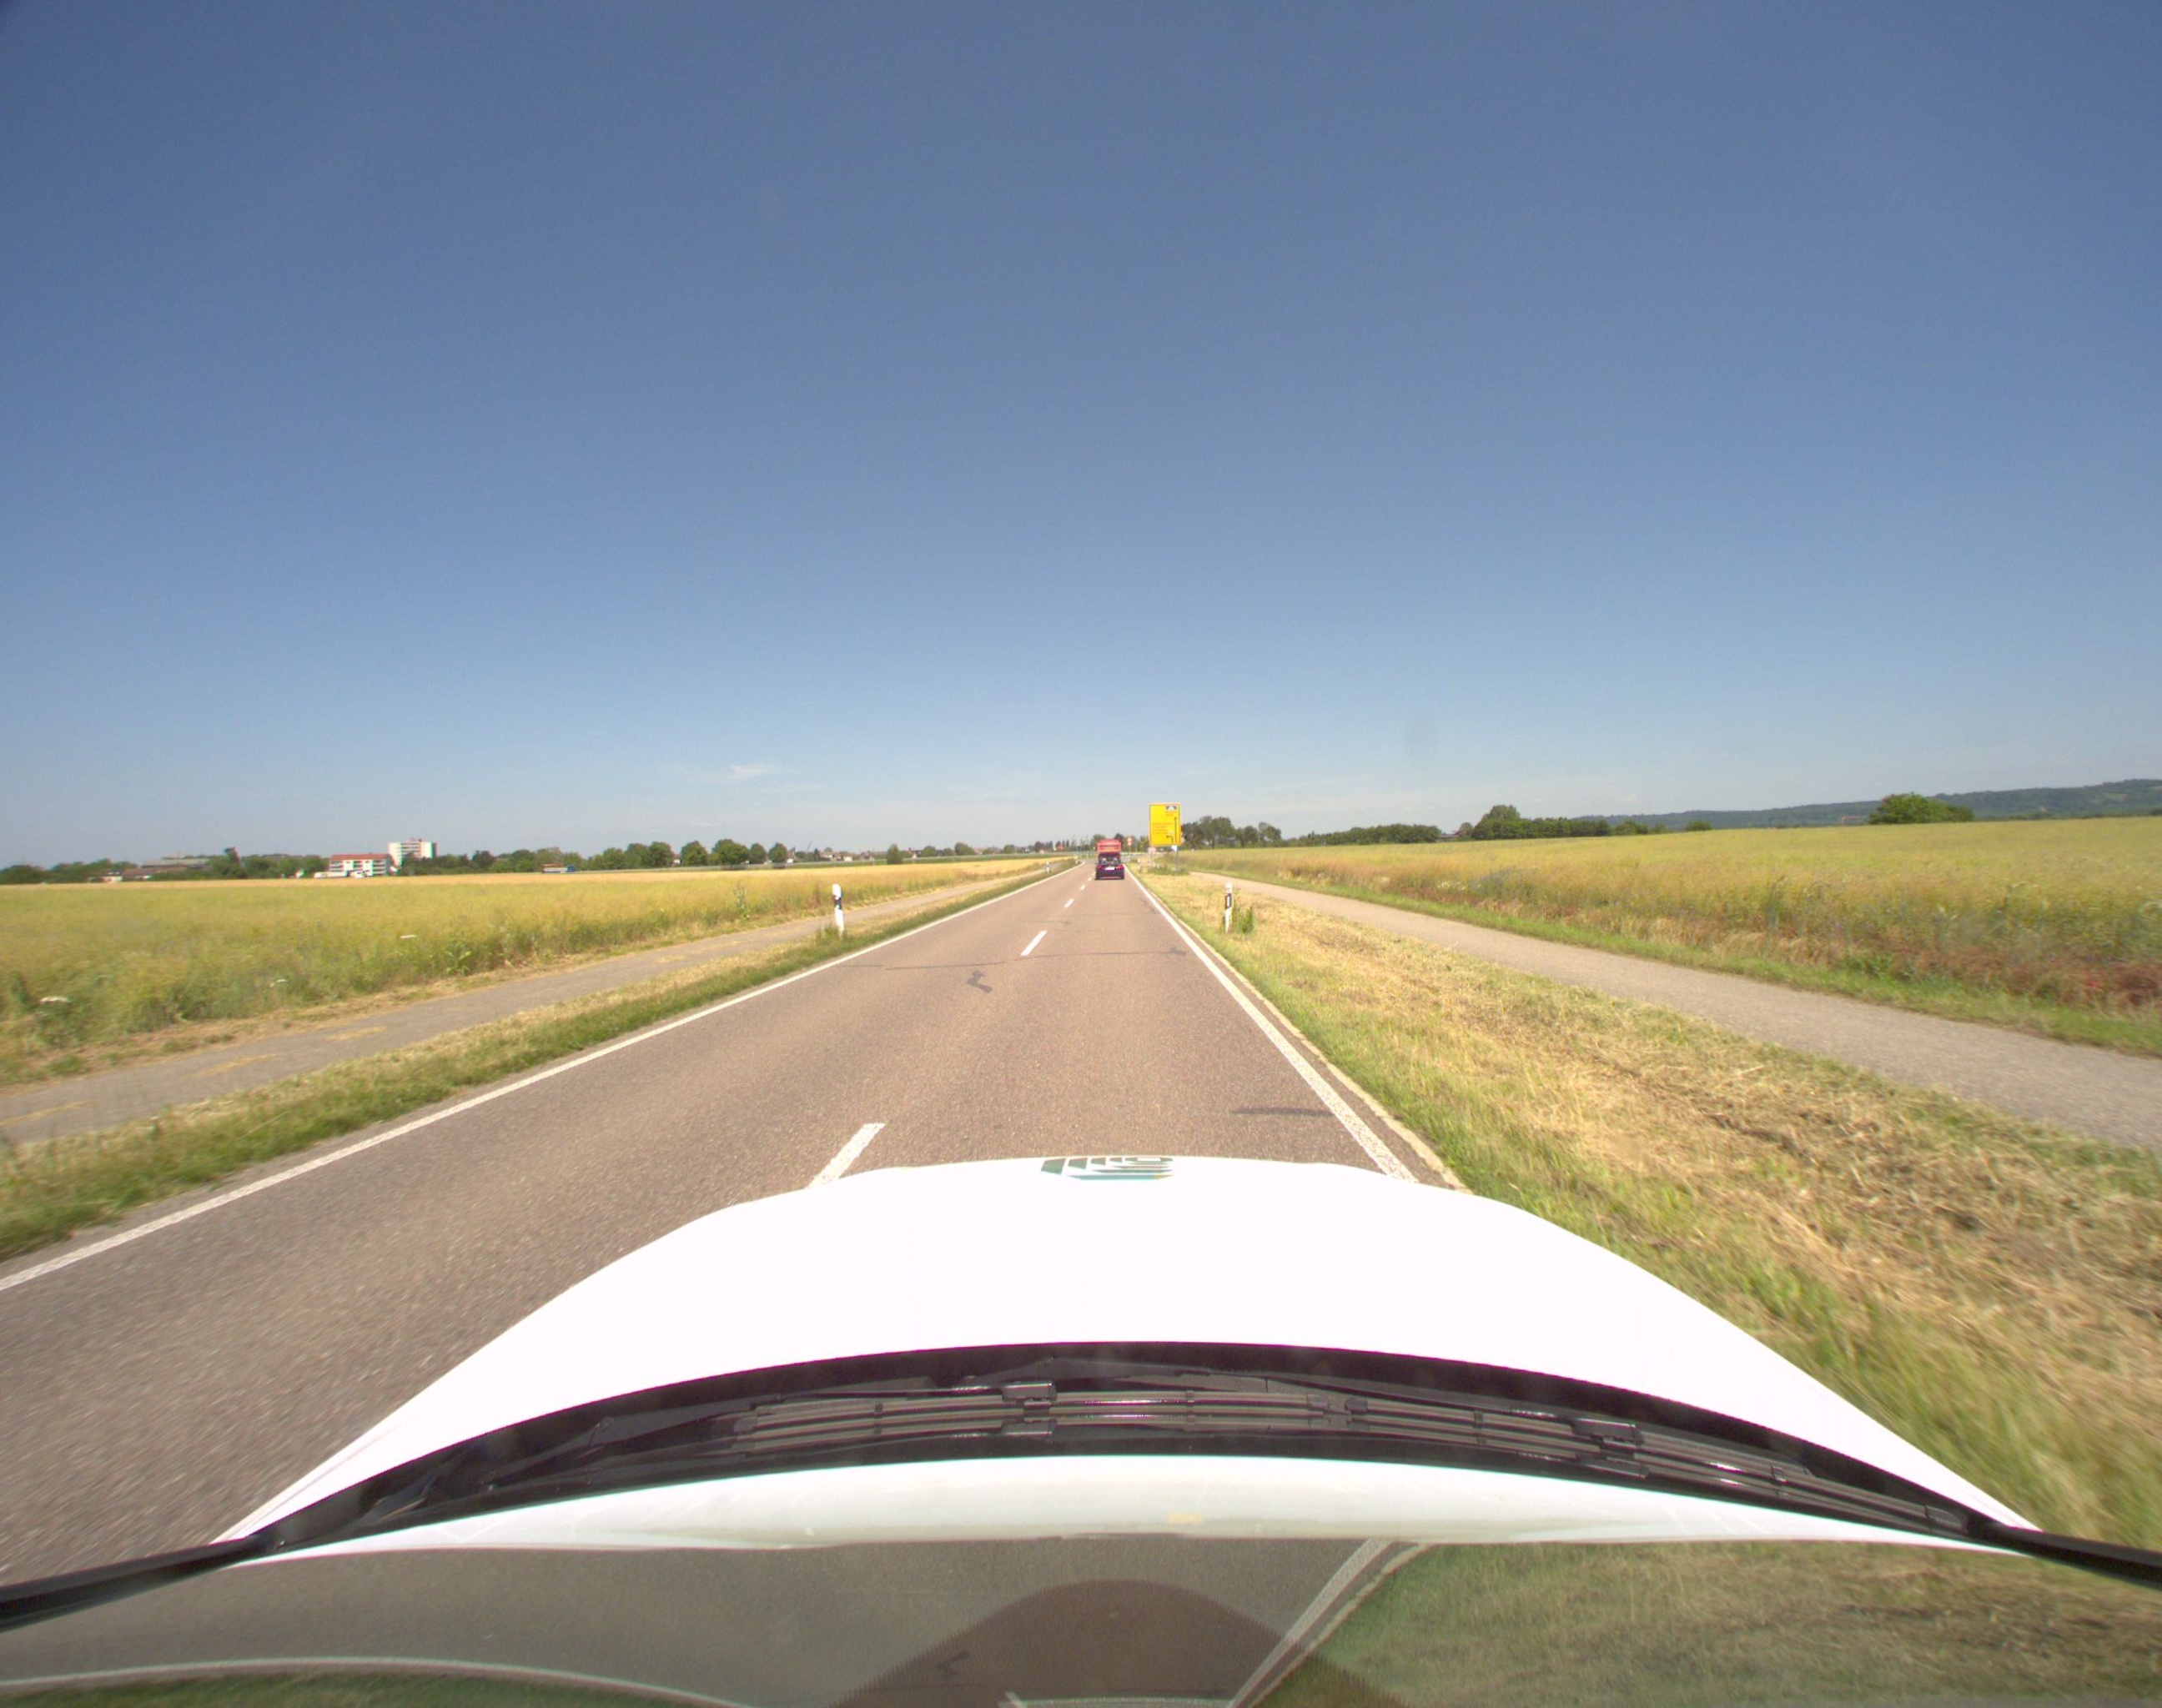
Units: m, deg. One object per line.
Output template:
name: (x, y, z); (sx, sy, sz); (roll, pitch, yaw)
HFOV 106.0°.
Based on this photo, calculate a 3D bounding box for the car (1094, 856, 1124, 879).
car: (1.725, 0.810, 49.753); (1.740, 1.375, 3.681); (0, -1, 2)

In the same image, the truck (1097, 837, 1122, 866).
truck: (3.257, -0.255, 92.007); (2.703, 3.052, 8.168); (-1, -1, 2)
